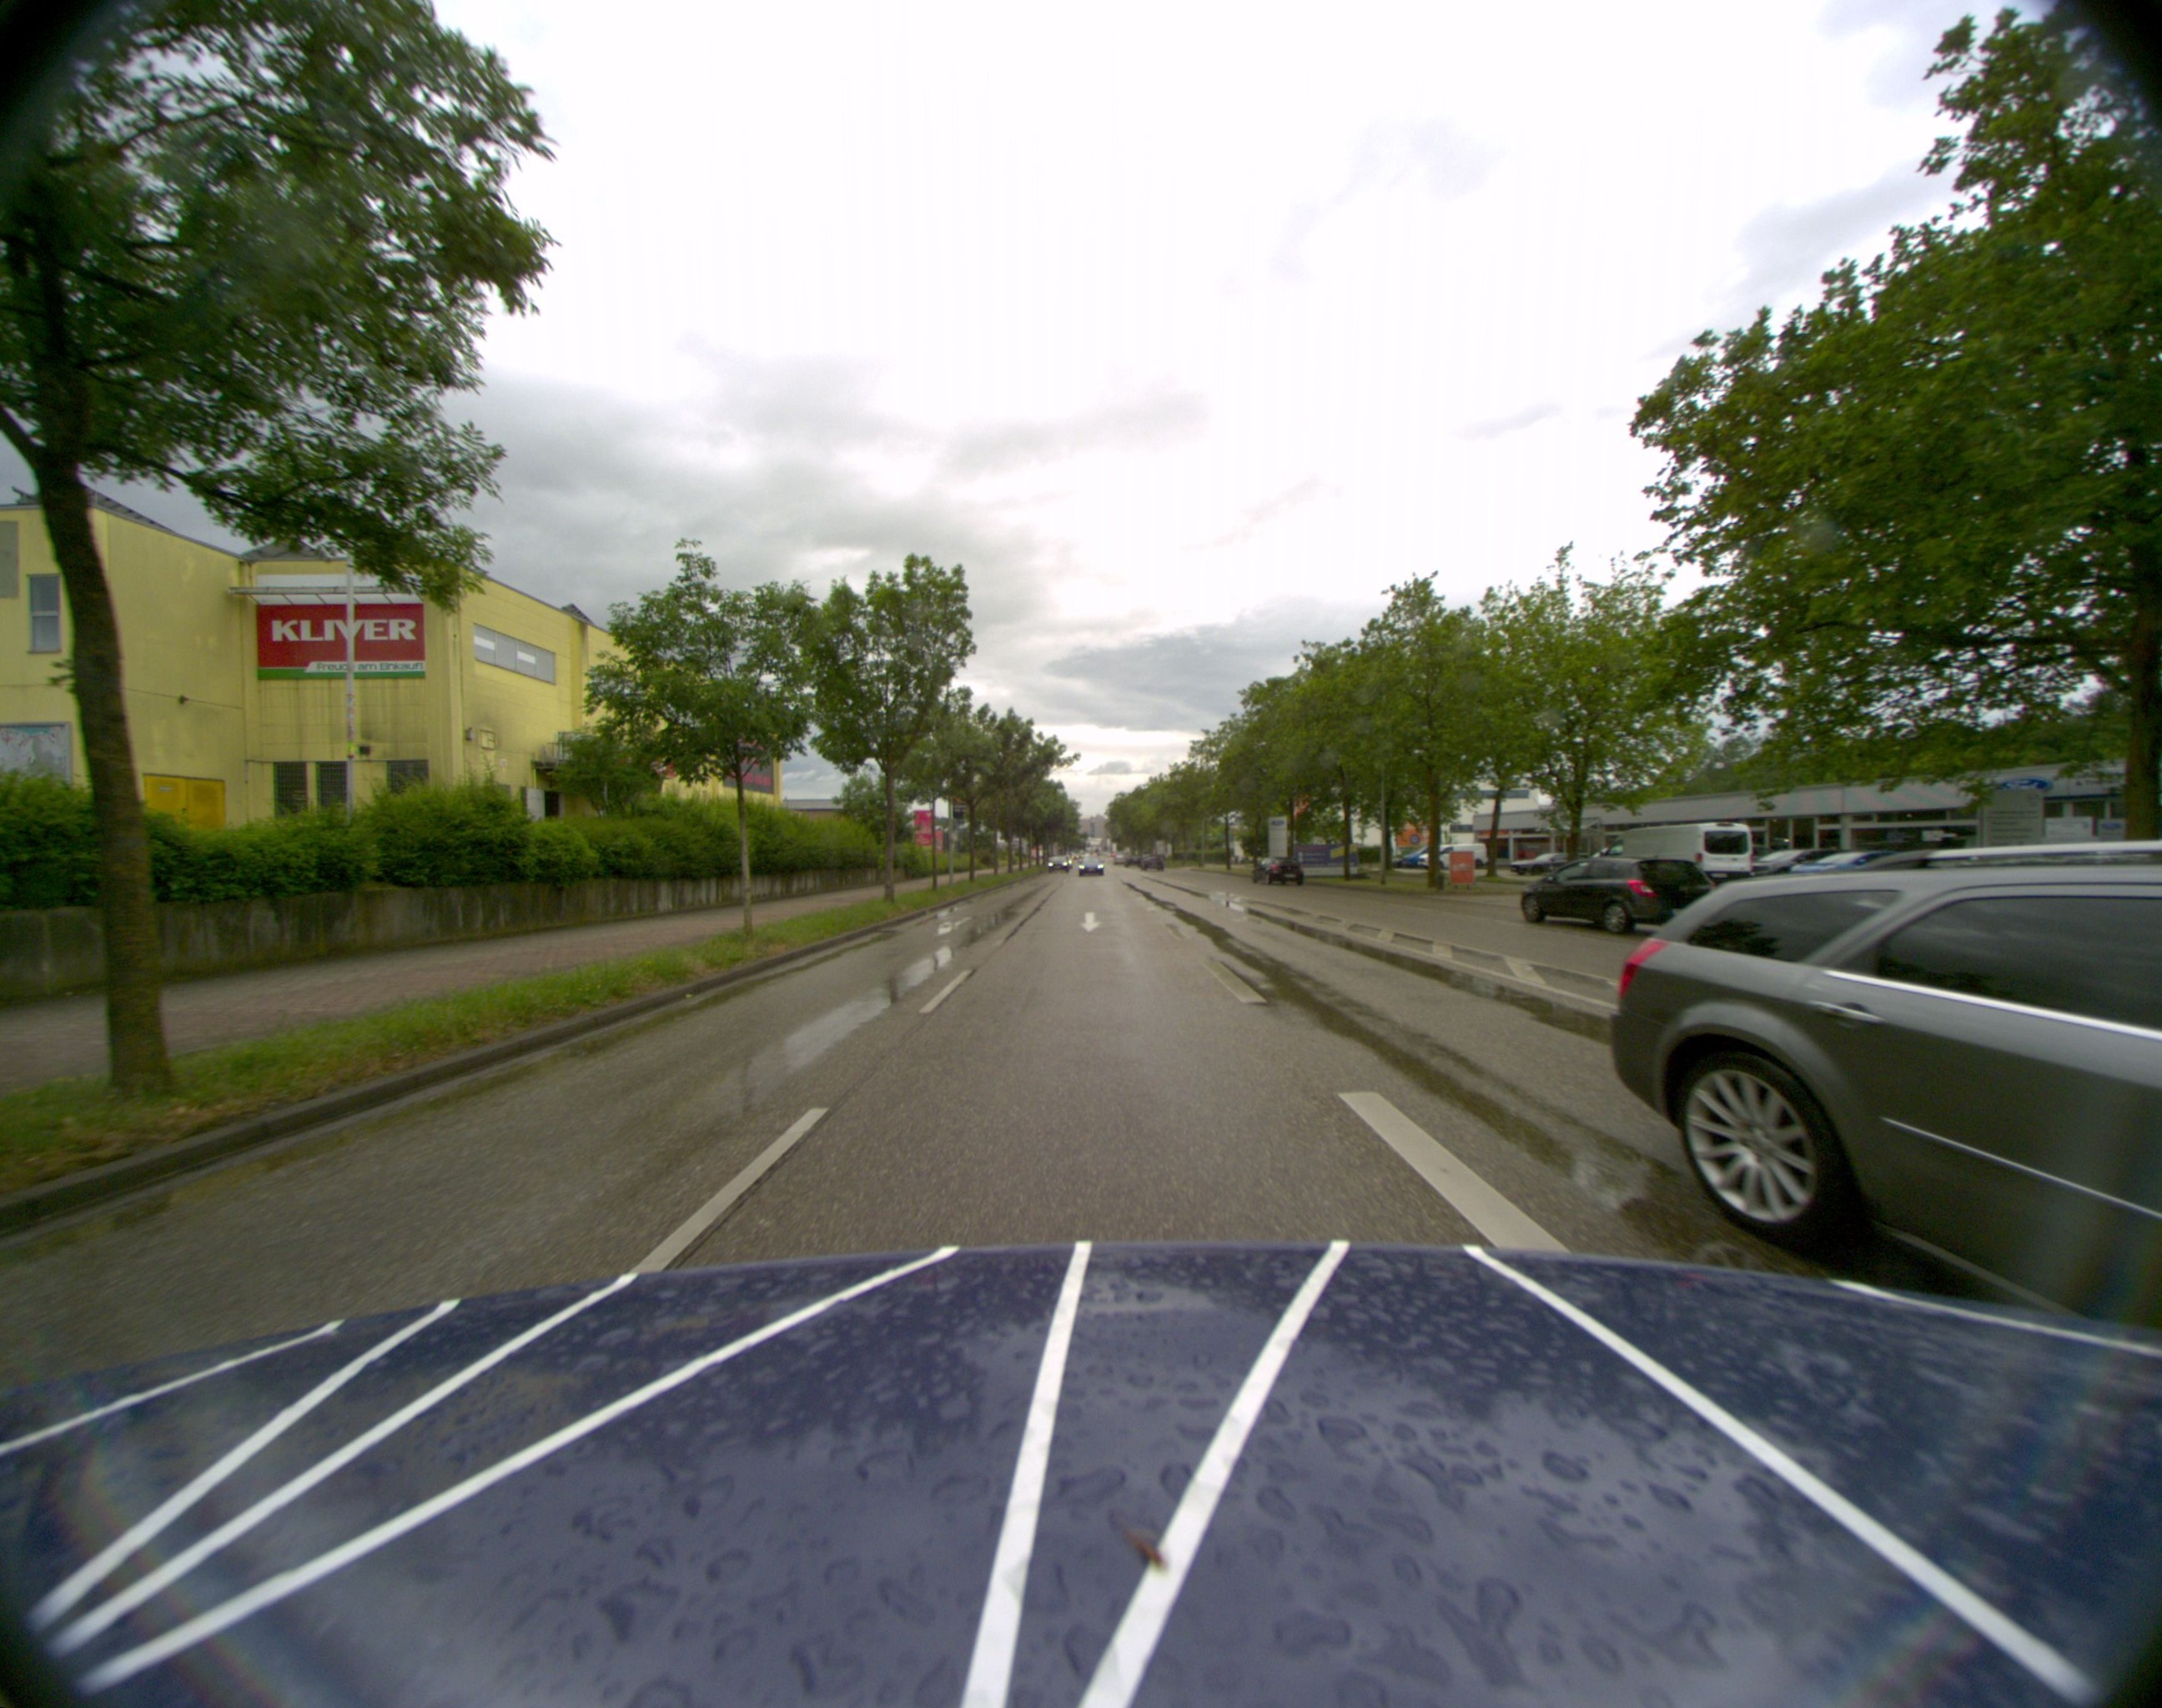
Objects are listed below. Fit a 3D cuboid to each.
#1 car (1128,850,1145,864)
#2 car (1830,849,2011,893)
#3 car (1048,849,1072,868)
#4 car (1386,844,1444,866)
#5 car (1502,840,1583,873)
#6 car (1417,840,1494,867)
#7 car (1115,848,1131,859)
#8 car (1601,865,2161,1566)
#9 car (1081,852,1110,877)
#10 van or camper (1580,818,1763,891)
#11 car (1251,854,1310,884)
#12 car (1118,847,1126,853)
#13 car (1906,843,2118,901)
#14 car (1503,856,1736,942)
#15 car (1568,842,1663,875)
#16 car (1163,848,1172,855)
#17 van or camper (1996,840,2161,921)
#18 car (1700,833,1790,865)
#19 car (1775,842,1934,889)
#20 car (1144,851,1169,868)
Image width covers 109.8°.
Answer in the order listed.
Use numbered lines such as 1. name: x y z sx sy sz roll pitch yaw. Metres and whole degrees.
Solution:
1. car: 6.299 0.293 86.387 1.767 1.522 3.858 1 0 1
2. car: 29.968 0.590 27.274 3.992 1.512 1.867 -1 1 15
3. car: -1.997 0.439 72.648 1.998 1.632 4.360 -3 1 1
4. car: 28.979 0.094 65.995 4.136 1.803 2.066 -1 1 1
5. car: 29.301 0.140 48.317 3.998 2.002 1.882 -1 1 -2
6. car: 29.463 -0.061 59.876 5.058 2.002 2.129 -1 1 -1
7. car: 5.956 -0.078 107.729 1.999 1.421 4.684 0 0 -1
8. car: 3.442 0.858 1.221 1.912 1.569 4.880 0 0 1
9. car: 1.057 0.736 55.792 1.998 1.632 4.360 -3 1 1
10. van or camper: 22.564 0.016 29.529 1.999 2.456 6.400 -2 0 -1
11. car: 10.085 0.704 38.768 1.741 1.421 4.536 0 0 -1
12. car: 12.226 -1.117 227.013 1.916 1.795 5.340 0 0 -1
13. car: 30.063 0.569 24.700 3.992 1.756 1.867 -1 1 17
14. car: 10.513 0.795 15.273 1.714 1.456 4.084 0 0 -1
15. car: 29.617 0.235 42.208 3.998 1.756 1.882 -1 1 -2
16. car: 20.020 -0.647 175.935 1.746 1.525 4.000 1 1 2
17. van or camper: 24.672 0.575 17.249 4.635 1.774 1.842 -1 1 25
18. car: 41.029 -0.331 46.935 5.357 1.827 2.385 -2 1 -27
19. car: 30.250 0.441 29.878 3.992 1.756 1.867 -1 1 16
20. car: 6.830 0.472 69.348 1.671 1.453 4.179 0 0 -3
